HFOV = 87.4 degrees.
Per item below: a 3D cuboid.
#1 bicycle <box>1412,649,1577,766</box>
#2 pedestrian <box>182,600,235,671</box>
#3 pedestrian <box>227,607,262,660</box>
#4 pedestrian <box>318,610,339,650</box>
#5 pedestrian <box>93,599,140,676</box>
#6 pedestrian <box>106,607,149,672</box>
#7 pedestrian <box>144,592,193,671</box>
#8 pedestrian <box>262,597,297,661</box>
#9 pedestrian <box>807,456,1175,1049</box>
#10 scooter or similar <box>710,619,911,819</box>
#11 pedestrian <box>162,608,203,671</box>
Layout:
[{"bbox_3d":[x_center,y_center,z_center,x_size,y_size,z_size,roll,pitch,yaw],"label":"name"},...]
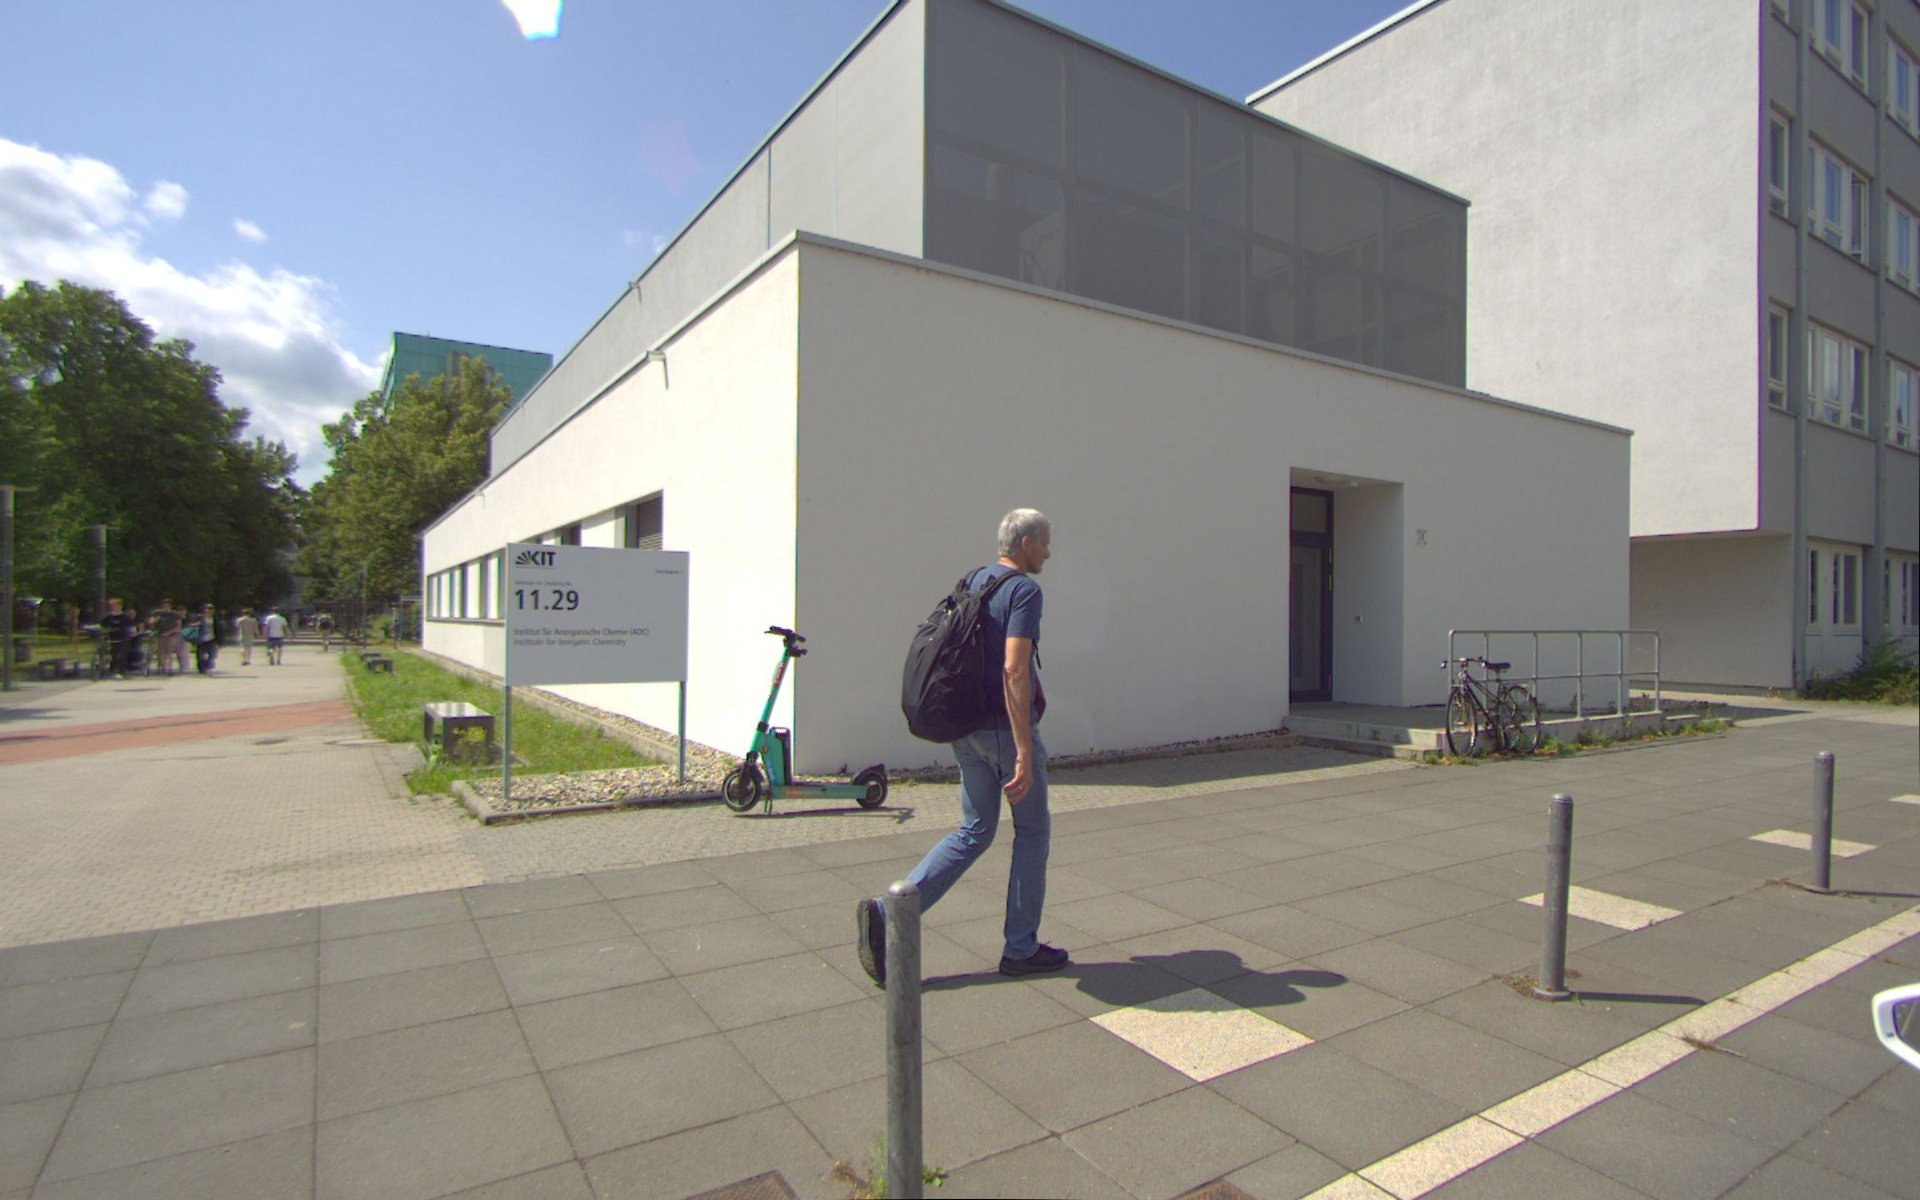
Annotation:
[{"bbox_3d":[5.424,1.048,10.161,1.875,1.075,0.541,1,-1,-28],"label":"bicycle"},{"bbox_3d":[-17.976,0.838,24.044,0.787,1.676,0.729,1,-1,-17],"label":"pedestrian"},{"bbox_3d":[-21.549,1.001,30.266,0.749,1.583,0.725,1,-1,-30],"label":"pedestrian"},{"bbox_3d":[-27.850,1.317,44.302,0.717,1.716,0.554,1,-1,-30],"label":"pedestrian"},{"bbox_3d":[-19.248,0.844,22.930,0.743,1.720,0.877,1,-1,-37],"label":"pedestrian"},{"bbox_3d":[-21.003,0.975,25.355,0.741,1.602,0.847,1,-1,-35],"label":"pedestrian"},{"bbox_3d":[-19.052,0.755,24.190,0.674,1.863,0.759,1,-1,-16],"label":"pedestrian"},{"bbox_3d":[-20.883,0.886,30.848,0.815,1.909,0.758,1,-1,-30],"label":"pedestrian"},{"bbox_3d":[0.125,0.484,3.804,1.134,1.841,0.817,1,-1,-38],"label":"pedestrian"},{"bbox_3d":[-1.028,0.779,6.912,1.293,1.280,0.482,1,-1,-21],"label":"scooter or similar"},{"bbox_3d":[-20.015,1.012,25.865,0.688,1.602,0.848,1,-1,-29],"label":"pedestrian"}]
